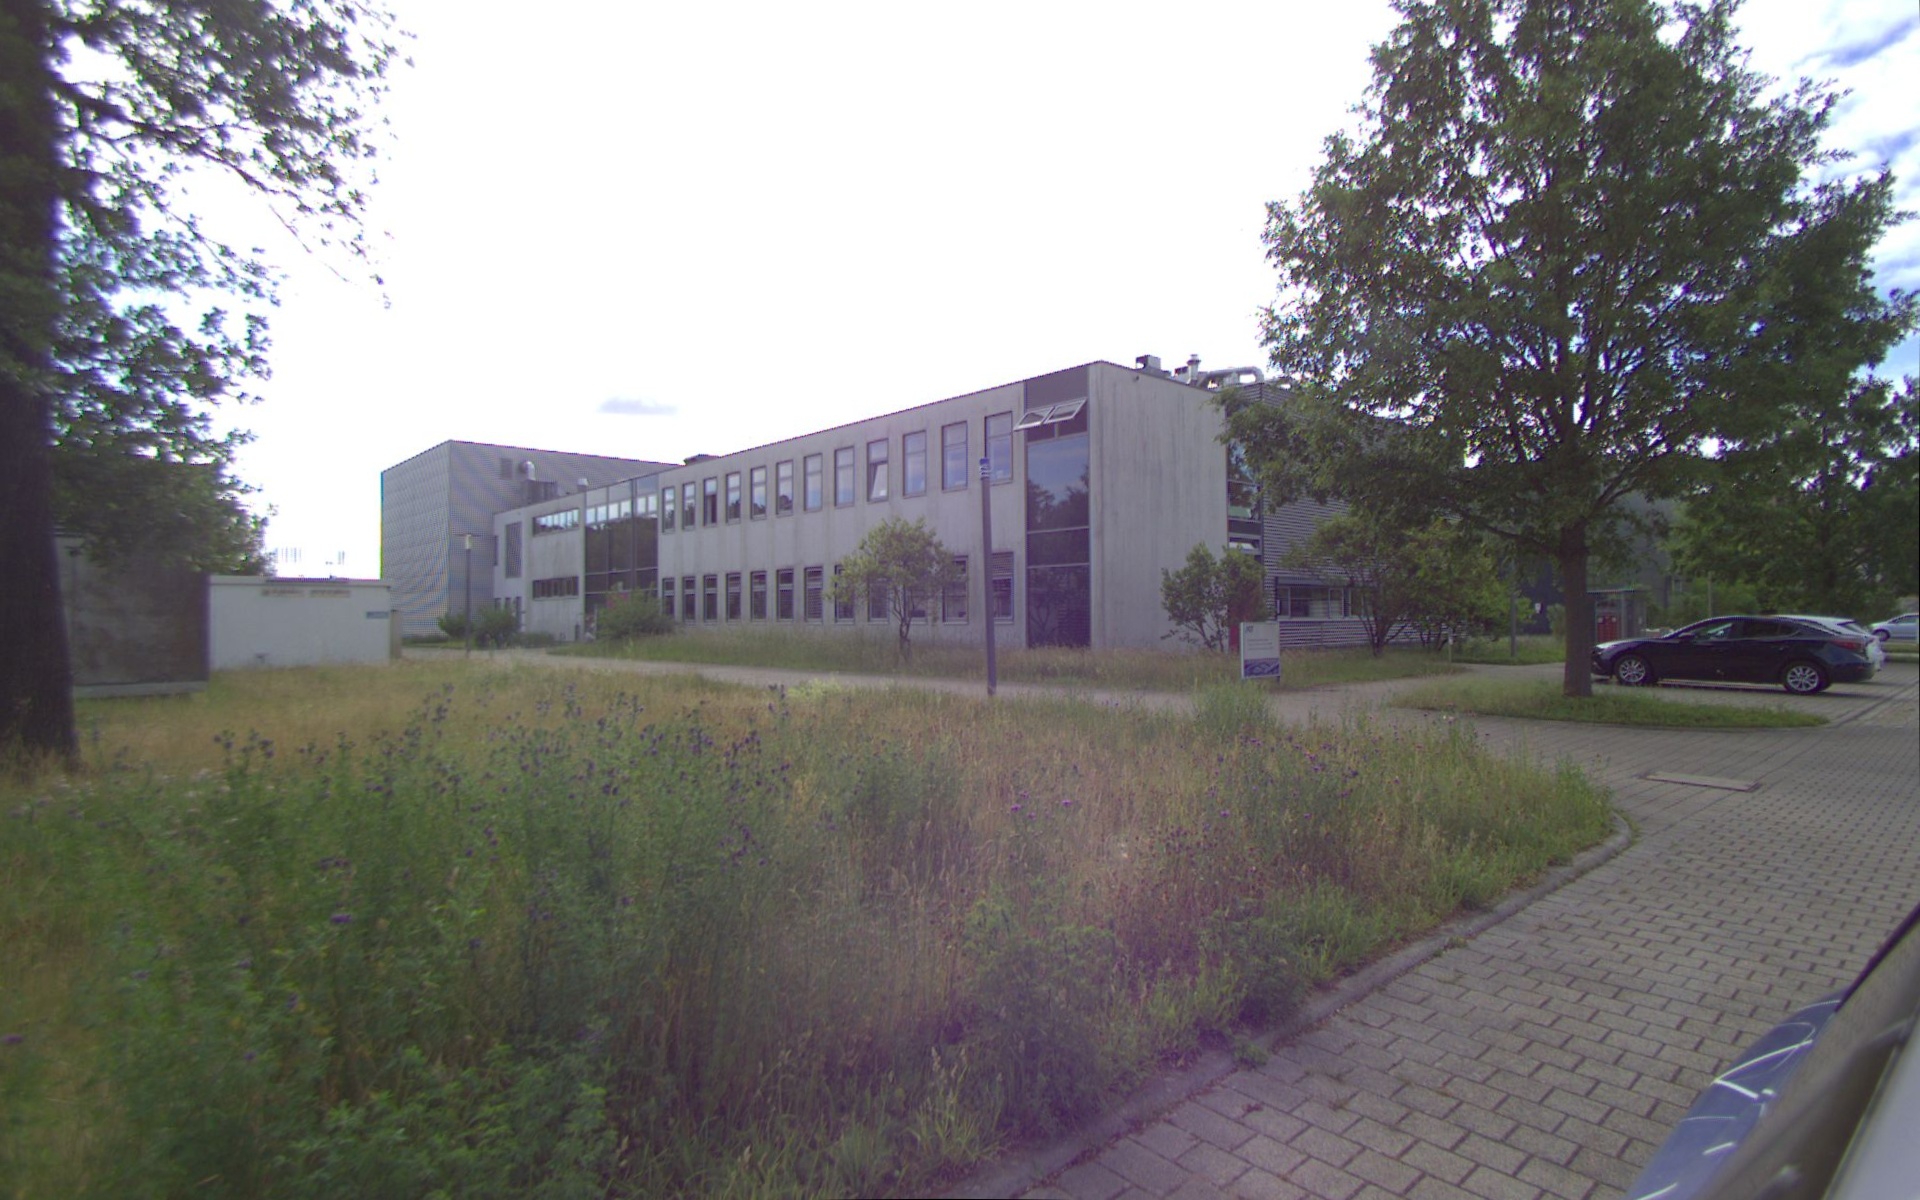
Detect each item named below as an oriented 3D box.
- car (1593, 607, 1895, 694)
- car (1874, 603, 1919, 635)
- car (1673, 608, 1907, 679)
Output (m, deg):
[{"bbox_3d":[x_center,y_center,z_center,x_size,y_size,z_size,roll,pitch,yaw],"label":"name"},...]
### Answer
[{"bbox_3d":[15.329,0.897,19.979,1.911,1.465,4.469,1,0,-42],"label":"car"},{"bbox_3d":[52.175,1.054,54.615,1.908,1.645,4.123,0,1,-45],"label":"car"},{"bbox_3d":[19.170,0.938,23.494,1.850,1.485,3.980,1,-1,-42],"label":"car"}]
